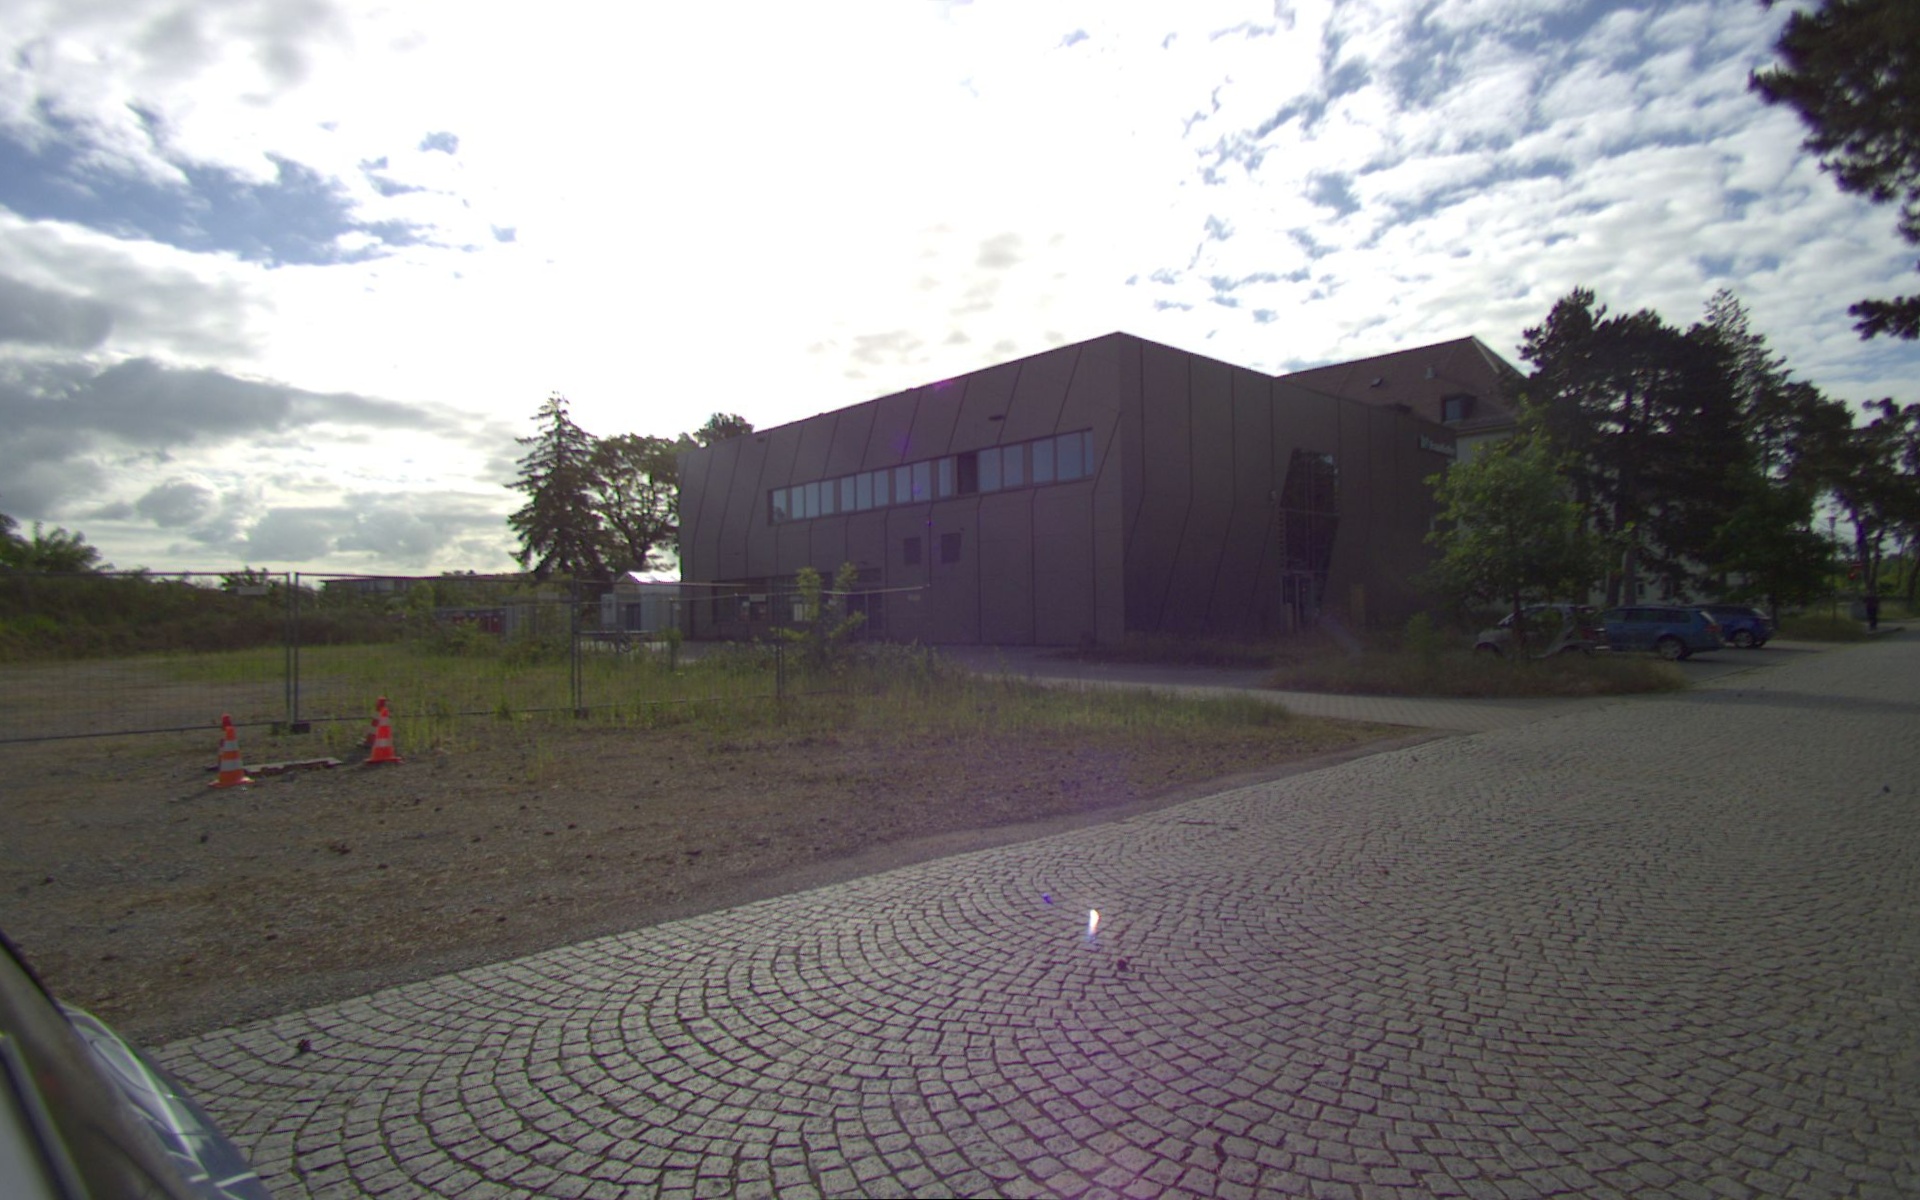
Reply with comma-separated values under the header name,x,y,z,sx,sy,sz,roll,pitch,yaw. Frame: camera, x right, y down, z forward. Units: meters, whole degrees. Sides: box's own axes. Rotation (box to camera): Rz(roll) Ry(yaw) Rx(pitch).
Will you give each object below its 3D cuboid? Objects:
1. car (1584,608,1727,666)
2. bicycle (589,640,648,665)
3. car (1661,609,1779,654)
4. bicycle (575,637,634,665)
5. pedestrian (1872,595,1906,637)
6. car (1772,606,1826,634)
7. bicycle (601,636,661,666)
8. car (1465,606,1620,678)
name,x,y,z,sx,sy,sz,roll,pitch,yaw
car,19.271,0.978,28.085,3.094,1.468,1.471,0,0,43
bicycle,-13.752,2.102,40.823,2.039,0.928,0.946,0,-2,-45
car,25.853,1.082,34.465,3.093,1.461,1.471,-3,-2,42
bicycle,-14.550,2.069,41.458,2.039,1.052,0.946,0,-2,-45
pedestrian,42.789,0.737,46.620,0.956,1.858,0.945,-2,-2,34
car,52.166,1.235,62.902,3.939,1.630,2.002,0,-2,-43
bicycle,-12.945,1.980,39.864,2.039,1.095,0.946,0,-2,-45
car,13.566,0.977,23.641,1.402,1.561,2.774,0,-2,-38
